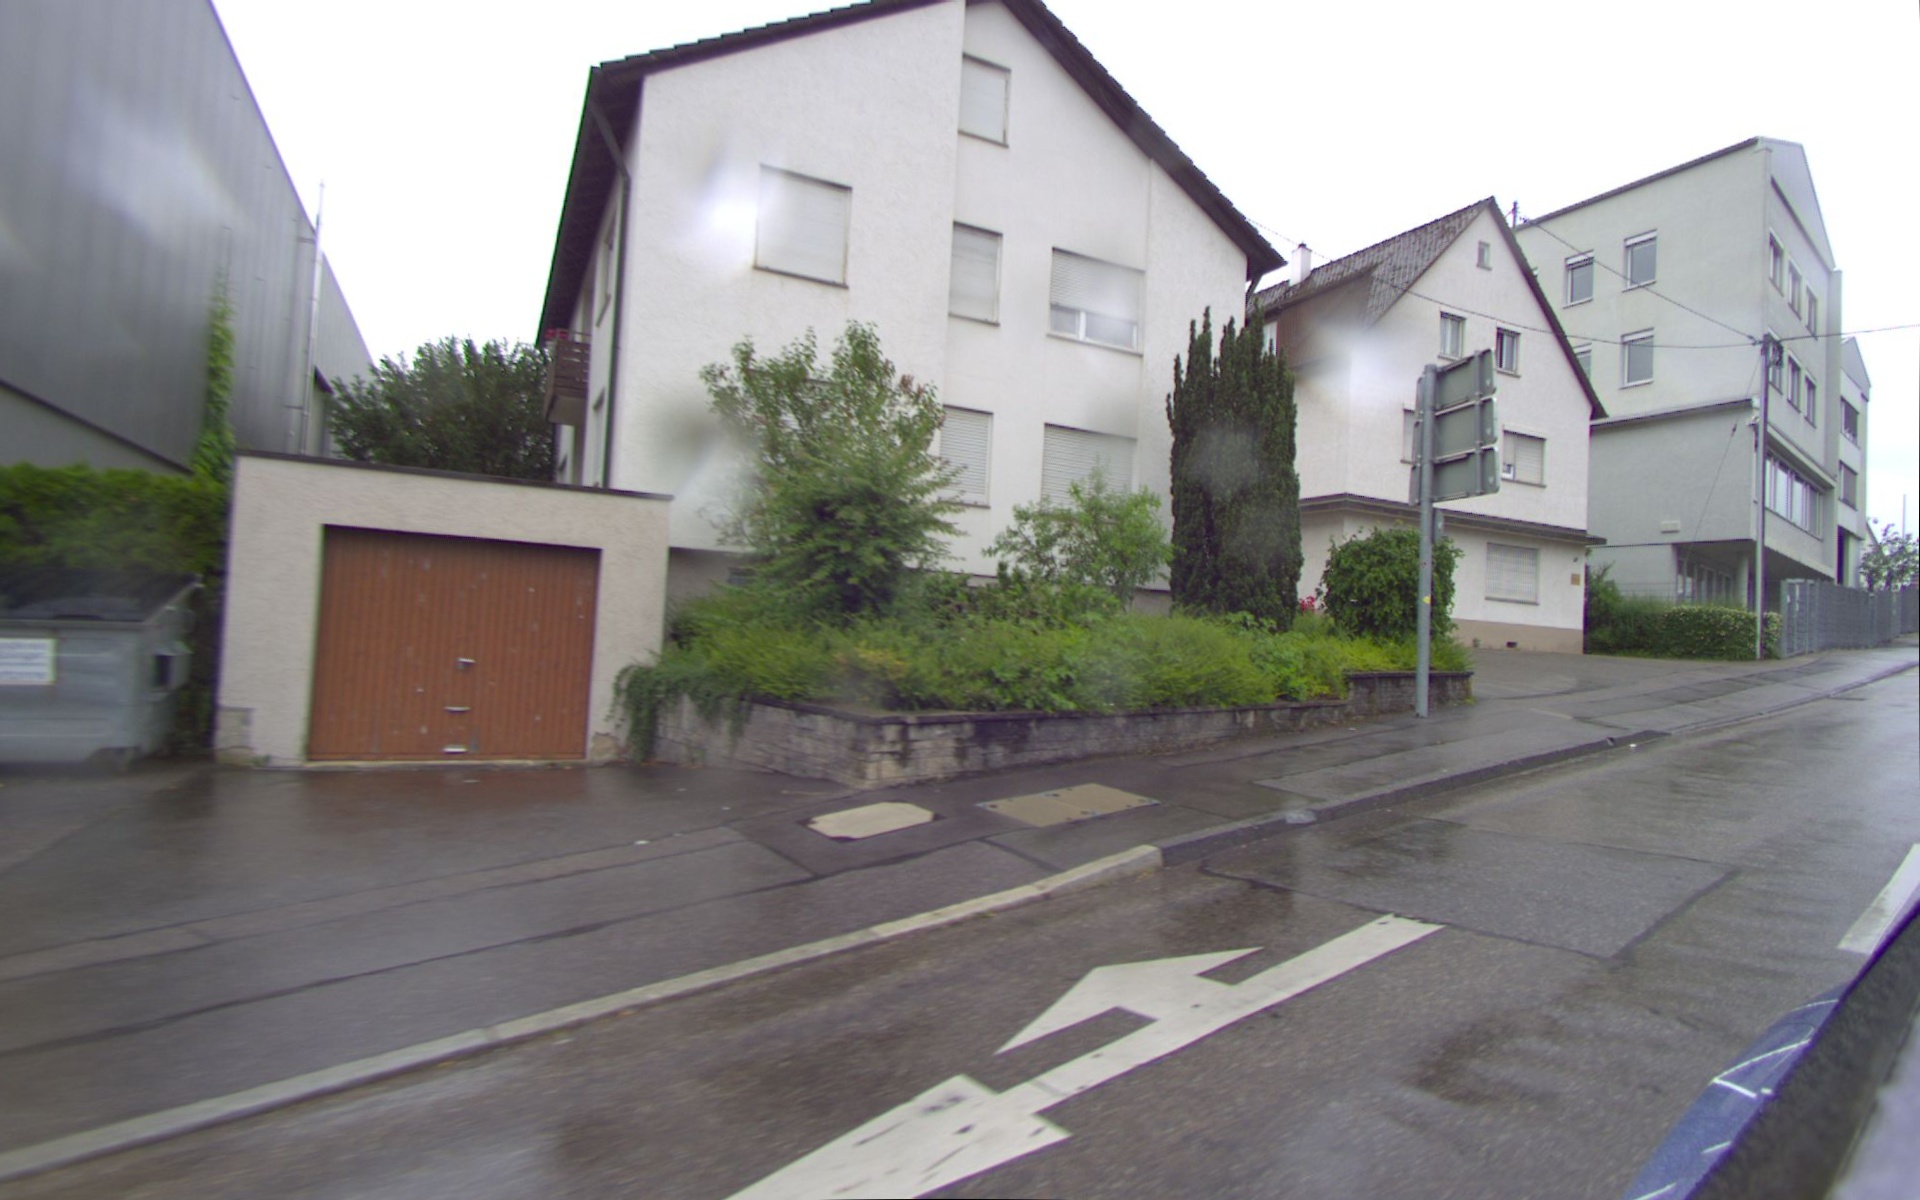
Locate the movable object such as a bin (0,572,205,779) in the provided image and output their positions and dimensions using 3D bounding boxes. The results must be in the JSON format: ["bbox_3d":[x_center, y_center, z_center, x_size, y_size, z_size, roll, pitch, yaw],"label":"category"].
[{"bbox_3d":[-7.394,0.561,8.238,1.742,1.537,1.268,1,1,-25],"label":"movable object such as a bin"}]
